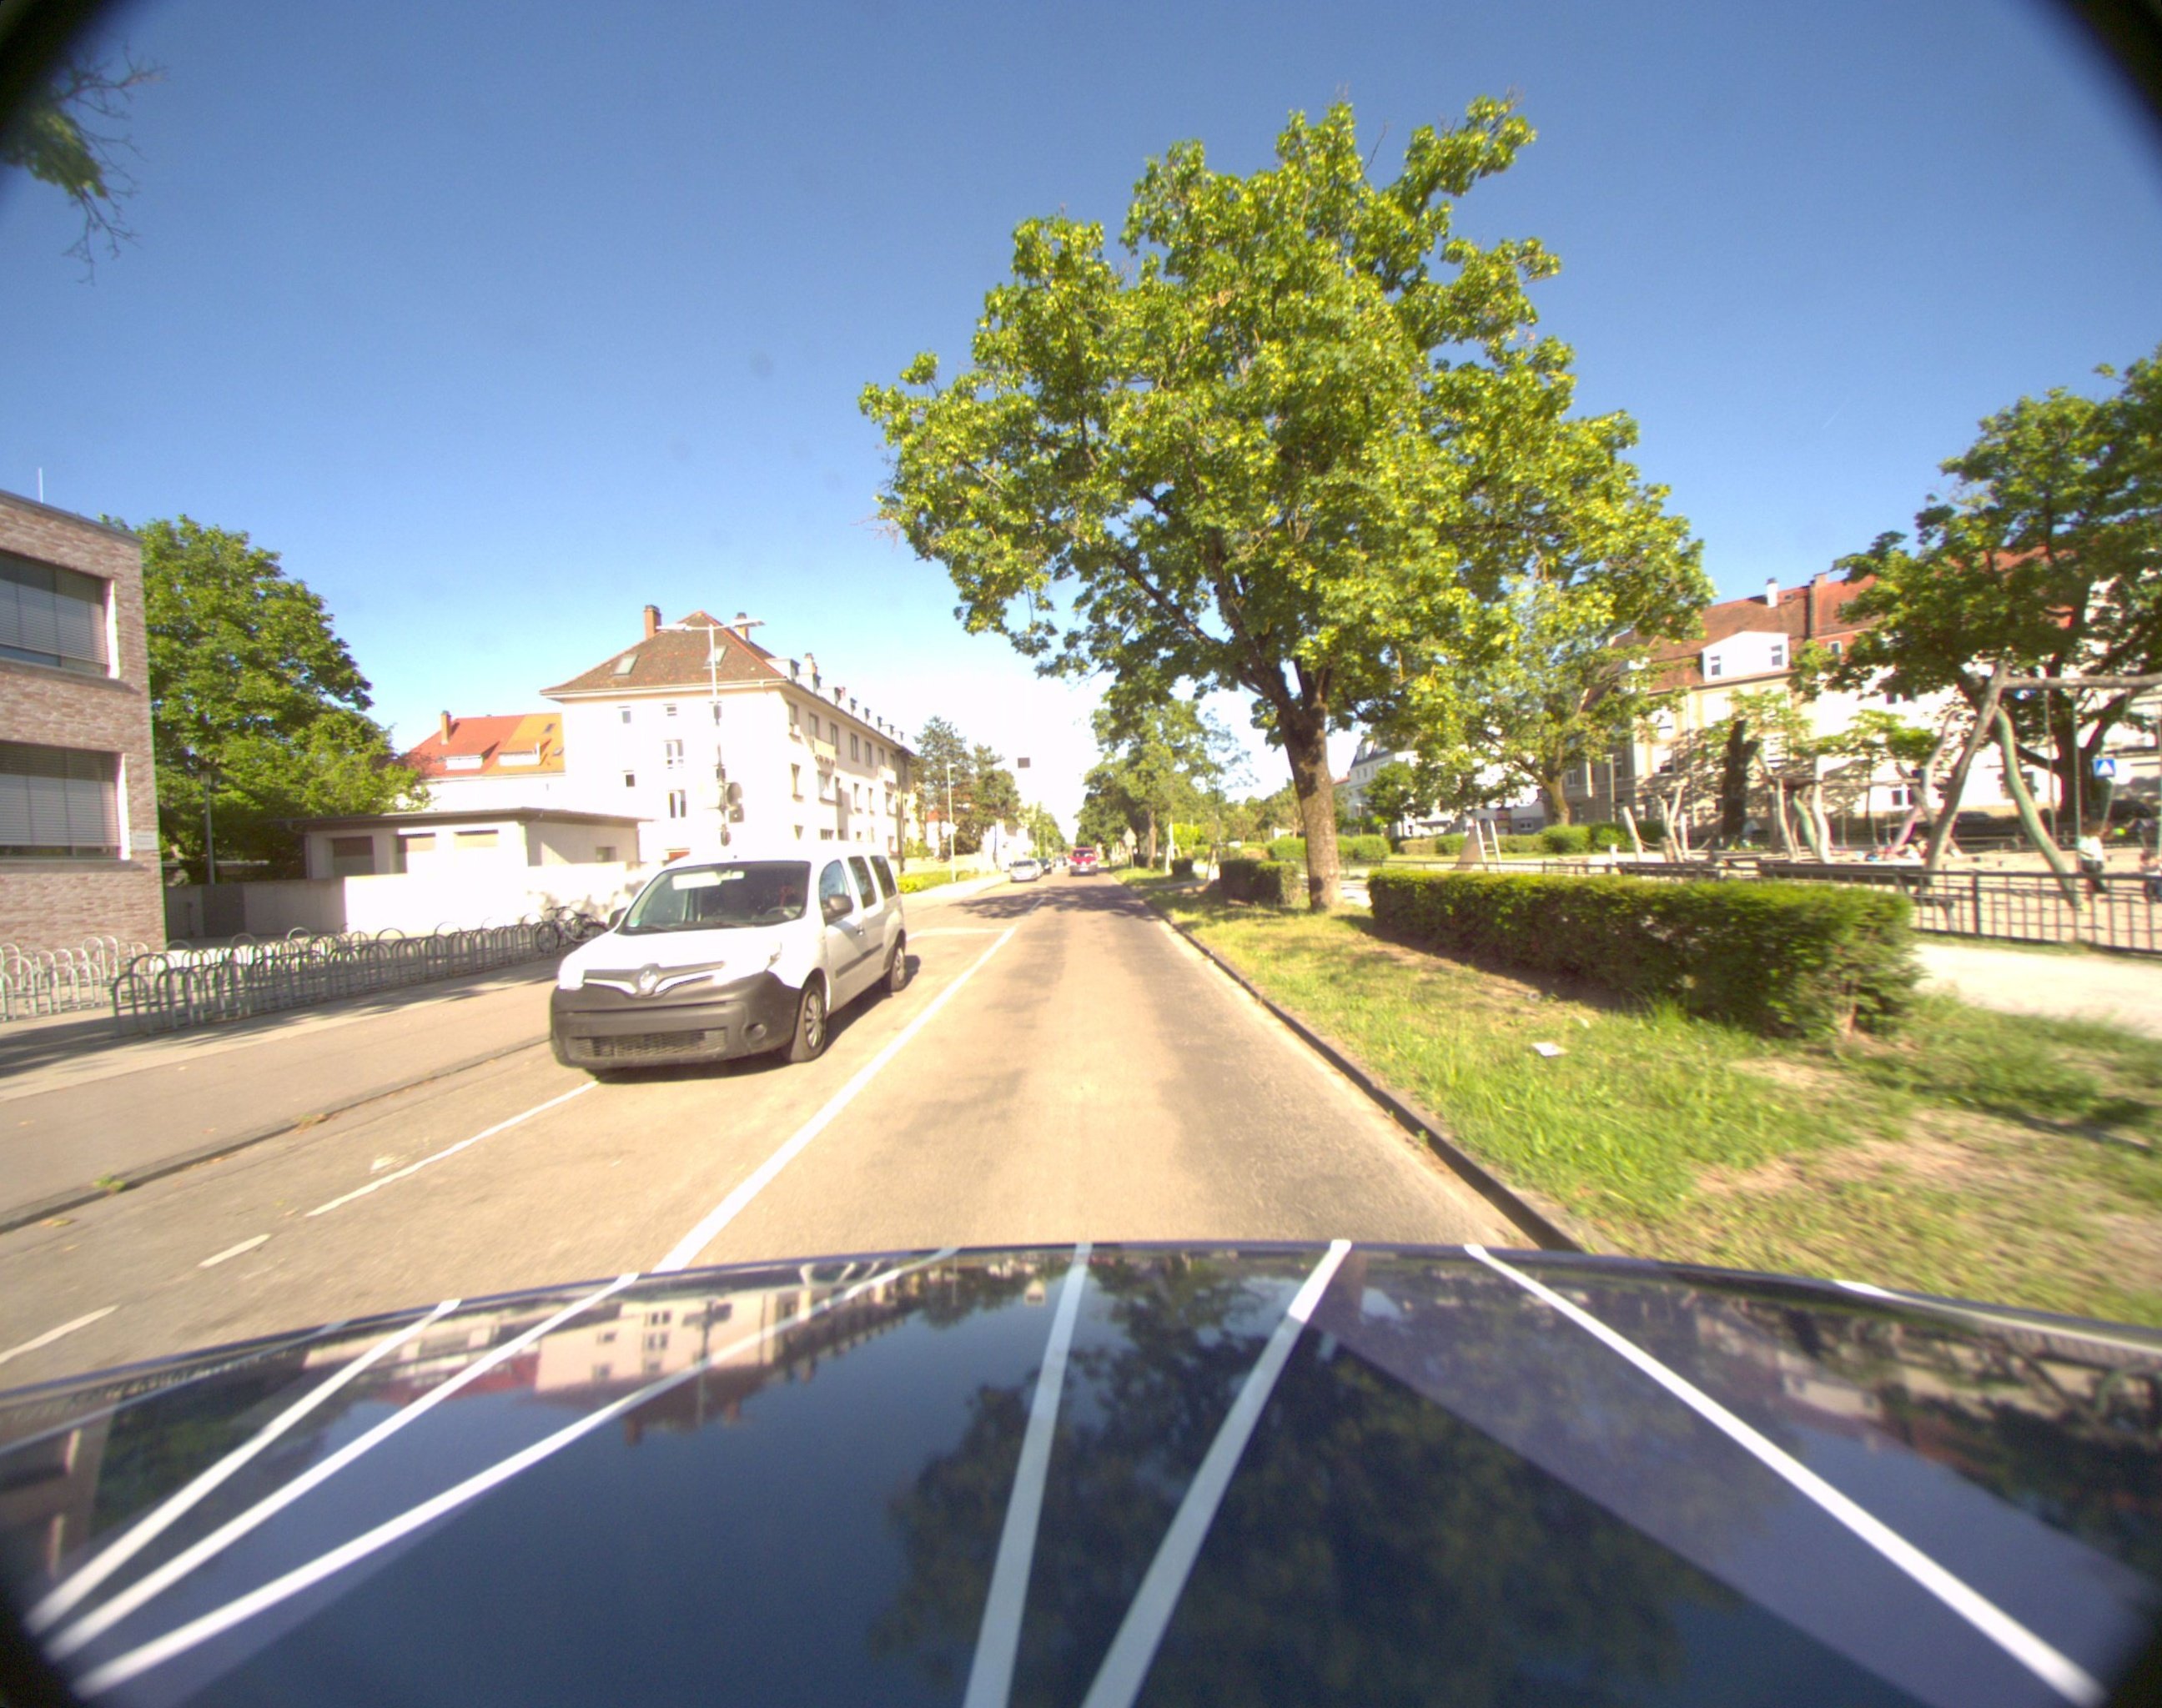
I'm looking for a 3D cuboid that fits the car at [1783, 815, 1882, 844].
[{"bbox_3d":[45.533,-1.473,46.167,3.989,1.501,1.803,-2,1,35],"label":"car"}]

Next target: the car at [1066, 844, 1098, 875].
[{"bbox_3d":[0.089,0.347,53.858,2.092,2.000,4.844,-2,0,0],"label":"car"}]

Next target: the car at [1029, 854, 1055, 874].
[{"bbox_3d":[-3.312,0.819,65.088,1.799,1.501,3.994,-5,1,1],"label":"car"}]

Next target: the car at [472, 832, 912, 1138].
[{"bbox_3d":[-3.038,0.847,7.216,1.812,1.897,4.460,-4,0,-1],"label":"car"}]

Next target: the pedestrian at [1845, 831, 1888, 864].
[{"bbox_3d":[24.134,-0.212,23.362,0.542,0.973,0.778,-3,1,8],"label":"pedestrian"}]

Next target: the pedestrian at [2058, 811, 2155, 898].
[{"bbox_3d":[16.401,0.004,12.173,0.649,1.321,0.651,-3,1,19],"label":"pedestrian"}]

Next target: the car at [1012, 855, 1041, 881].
[{"bbox_3d":[-3.447,0.841,48.751,1.664,1.456,4.409,-5,1,-3],"label":"car"}]

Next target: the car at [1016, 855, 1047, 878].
[{"bbox_3d":[-3.558,0.858,55.346,1.799,1.413,4.288,-5,1,1],"label":"car"}]

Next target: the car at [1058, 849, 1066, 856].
[{"bbox_3d":[-4.400,-0.276,178.038,1.799,1.529,4.000,-3,-1,0],"label":"car"}]

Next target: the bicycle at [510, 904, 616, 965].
[{"bbox_3d":[-10.337,1.603,15.195,1.673,1.024,0.500,-5,1,-2],"label":"bicycle"}]
